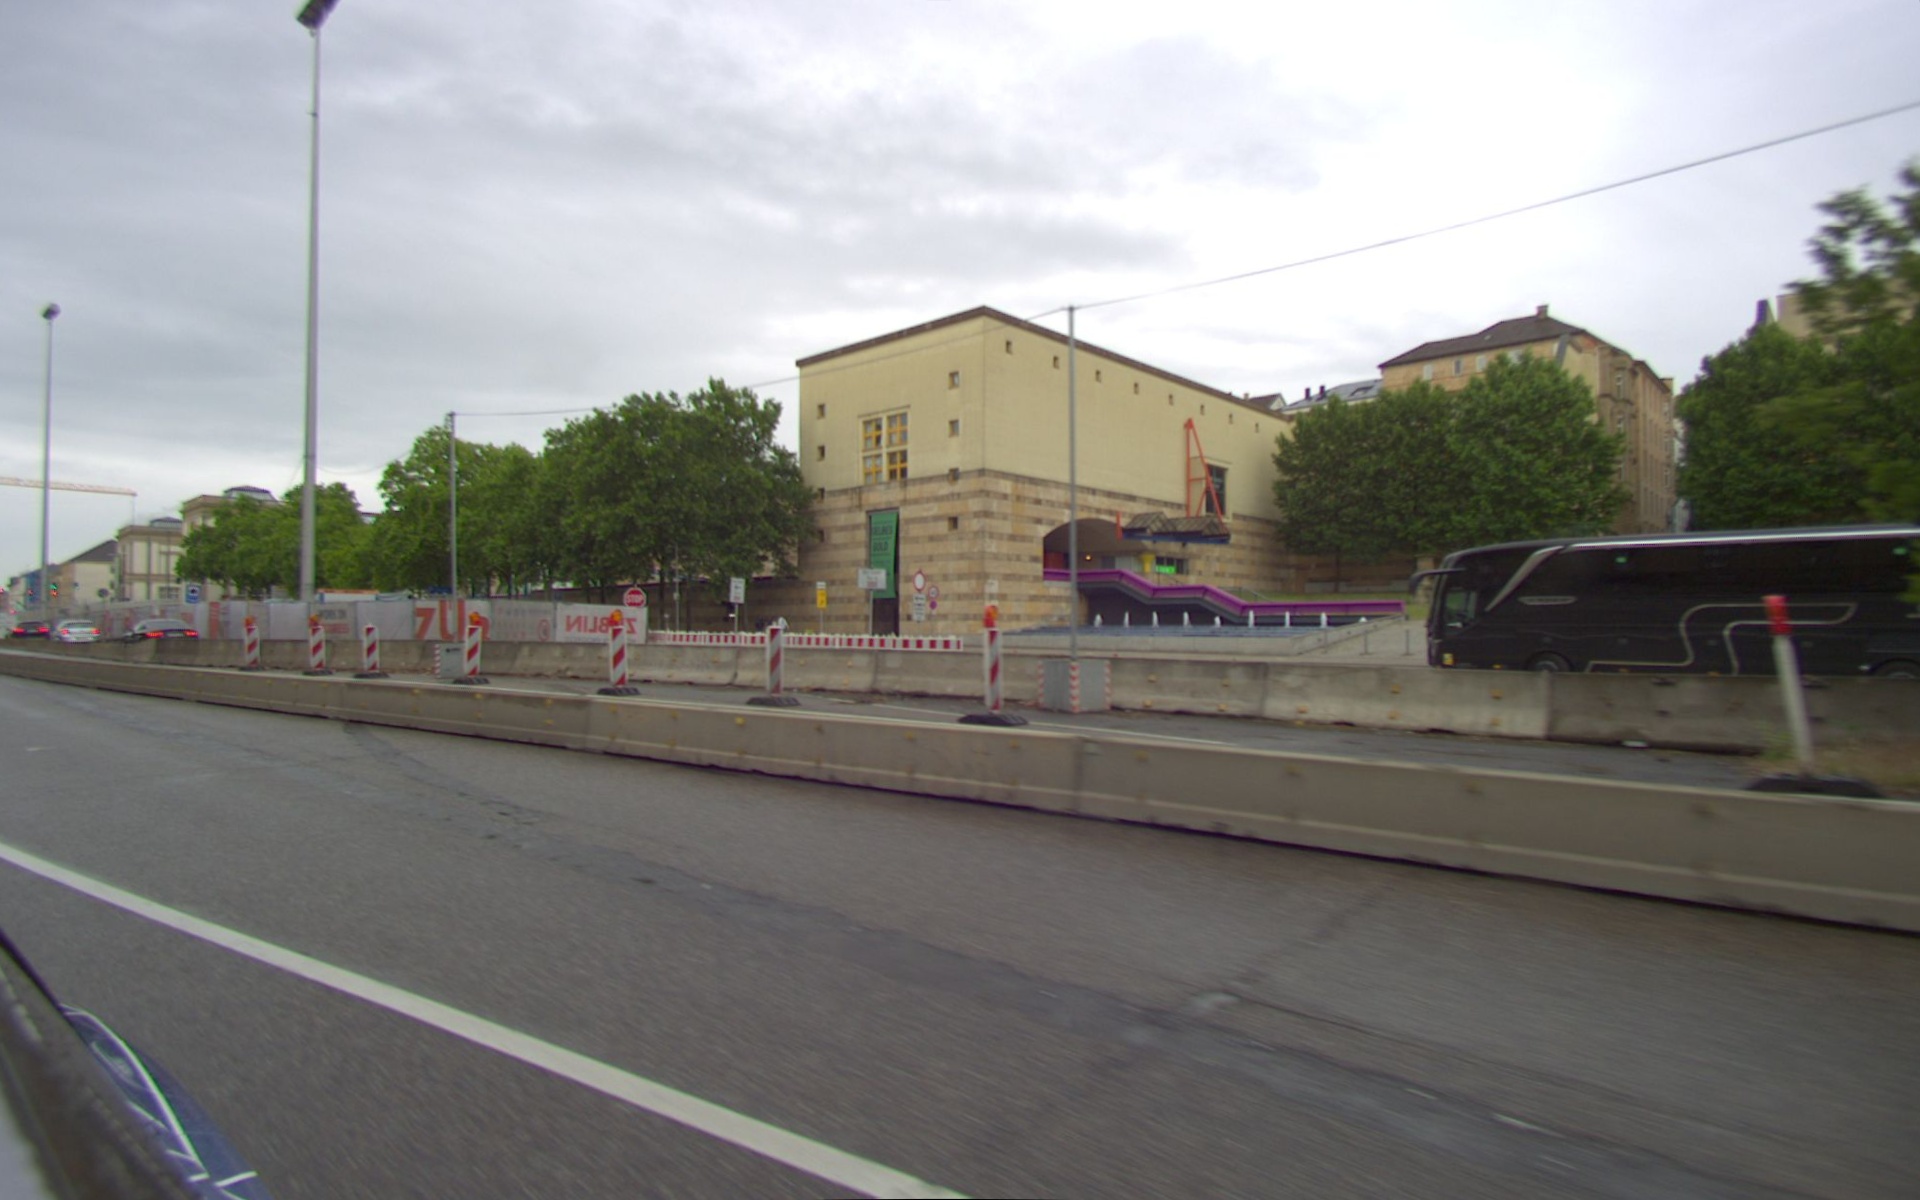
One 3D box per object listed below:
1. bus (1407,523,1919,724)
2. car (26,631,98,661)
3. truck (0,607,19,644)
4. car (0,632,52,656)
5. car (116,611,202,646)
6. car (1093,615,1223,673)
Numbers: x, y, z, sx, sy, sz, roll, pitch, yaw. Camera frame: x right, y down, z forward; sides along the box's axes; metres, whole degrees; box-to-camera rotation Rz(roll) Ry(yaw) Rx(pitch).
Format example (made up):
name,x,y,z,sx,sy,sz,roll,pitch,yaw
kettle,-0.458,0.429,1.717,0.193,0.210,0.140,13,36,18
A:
name,x,y,z,sx,sy,sz,roll,pitch,yaw
bus,17.713,0.478,22.009,2.772,3.840,14.606,-1,0,-44
car,-47.872,2.417,53.928,3.990,1.542,1.977,-1,-2,34
truck,-74.526,1.996,77.620,7.345,2.740,2.374,-2,-2,38
car,-60.764,2.830,65.502,4.748,1.542,1.904,-1,-2,34
car,-31.682,1.115,39.972,4.764,1.272,1.756,-1,0,40
car,5.479,1.197,28.113,3.211,1.512,1.575,-1,-3,39
